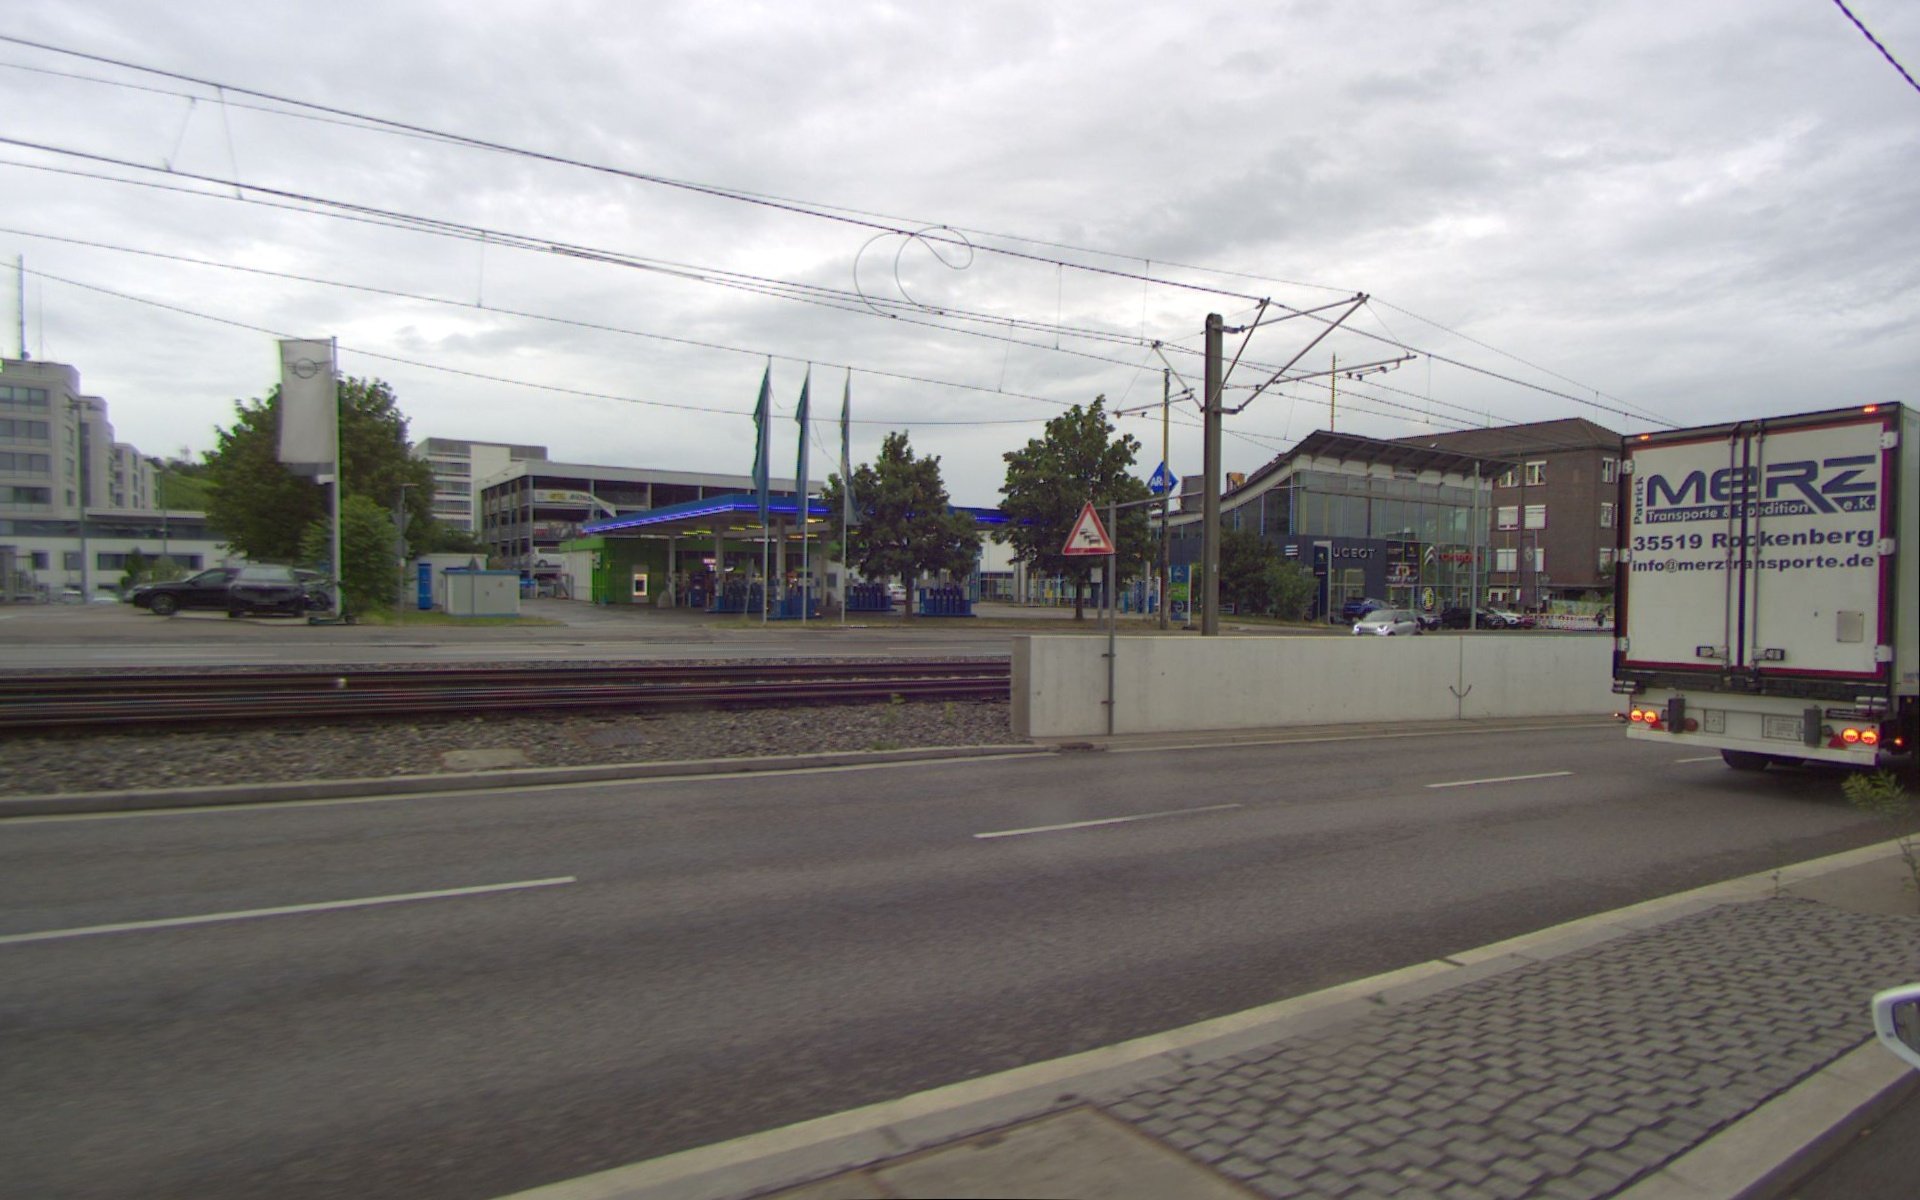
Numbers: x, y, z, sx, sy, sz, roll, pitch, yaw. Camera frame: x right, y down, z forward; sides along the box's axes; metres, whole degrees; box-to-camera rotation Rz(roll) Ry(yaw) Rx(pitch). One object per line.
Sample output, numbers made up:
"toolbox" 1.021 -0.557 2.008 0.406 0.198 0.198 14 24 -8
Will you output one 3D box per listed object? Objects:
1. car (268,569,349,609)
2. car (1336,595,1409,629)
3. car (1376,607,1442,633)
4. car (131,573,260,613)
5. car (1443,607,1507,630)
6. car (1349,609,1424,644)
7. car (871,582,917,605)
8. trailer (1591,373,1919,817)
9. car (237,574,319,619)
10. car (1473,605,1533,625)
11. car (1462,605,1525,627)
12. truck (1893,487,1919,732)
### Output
"car" -27.312 -0.439 42.139 2.772 1.594 1.373 1 1 -34
"car" 25.193 0.744 61.384 4.012 1.630 1.757 7 -2 -23
"car" 28.700 1.277 64.241 1.559 1.421 3.482 0 -4 -35
"car" -25.865 -0.222 34.115 3.397 1.260 1.575 1 1 -36
"car" 35.166 1.229 68.640 1.731 1.493 3.461 1 0 -32
"car" 17.111 1.065 40.291 2.769 1.317 1.374 1 1 -32
"car" -4.978 -0.494 75.391 1.835 1.662 3.968 1 1 -30
"trailer" 13.832 0.051 14.426 13.036 4.309 2.747 1 -1 -32
"car" -21.153 -0.116 31.275 1.695 1.291 3.502 1 1 -28
"car" 38.828 1.076 71.852 1.602 1.400 3.458 1 -1 -35
"car" 37.269 1.119 70.206 1.731 1.416 3.461 1 0 -32
"truck" 19.840 0.192 18.256 6.236 4.261 2.741 1 -1 -32
